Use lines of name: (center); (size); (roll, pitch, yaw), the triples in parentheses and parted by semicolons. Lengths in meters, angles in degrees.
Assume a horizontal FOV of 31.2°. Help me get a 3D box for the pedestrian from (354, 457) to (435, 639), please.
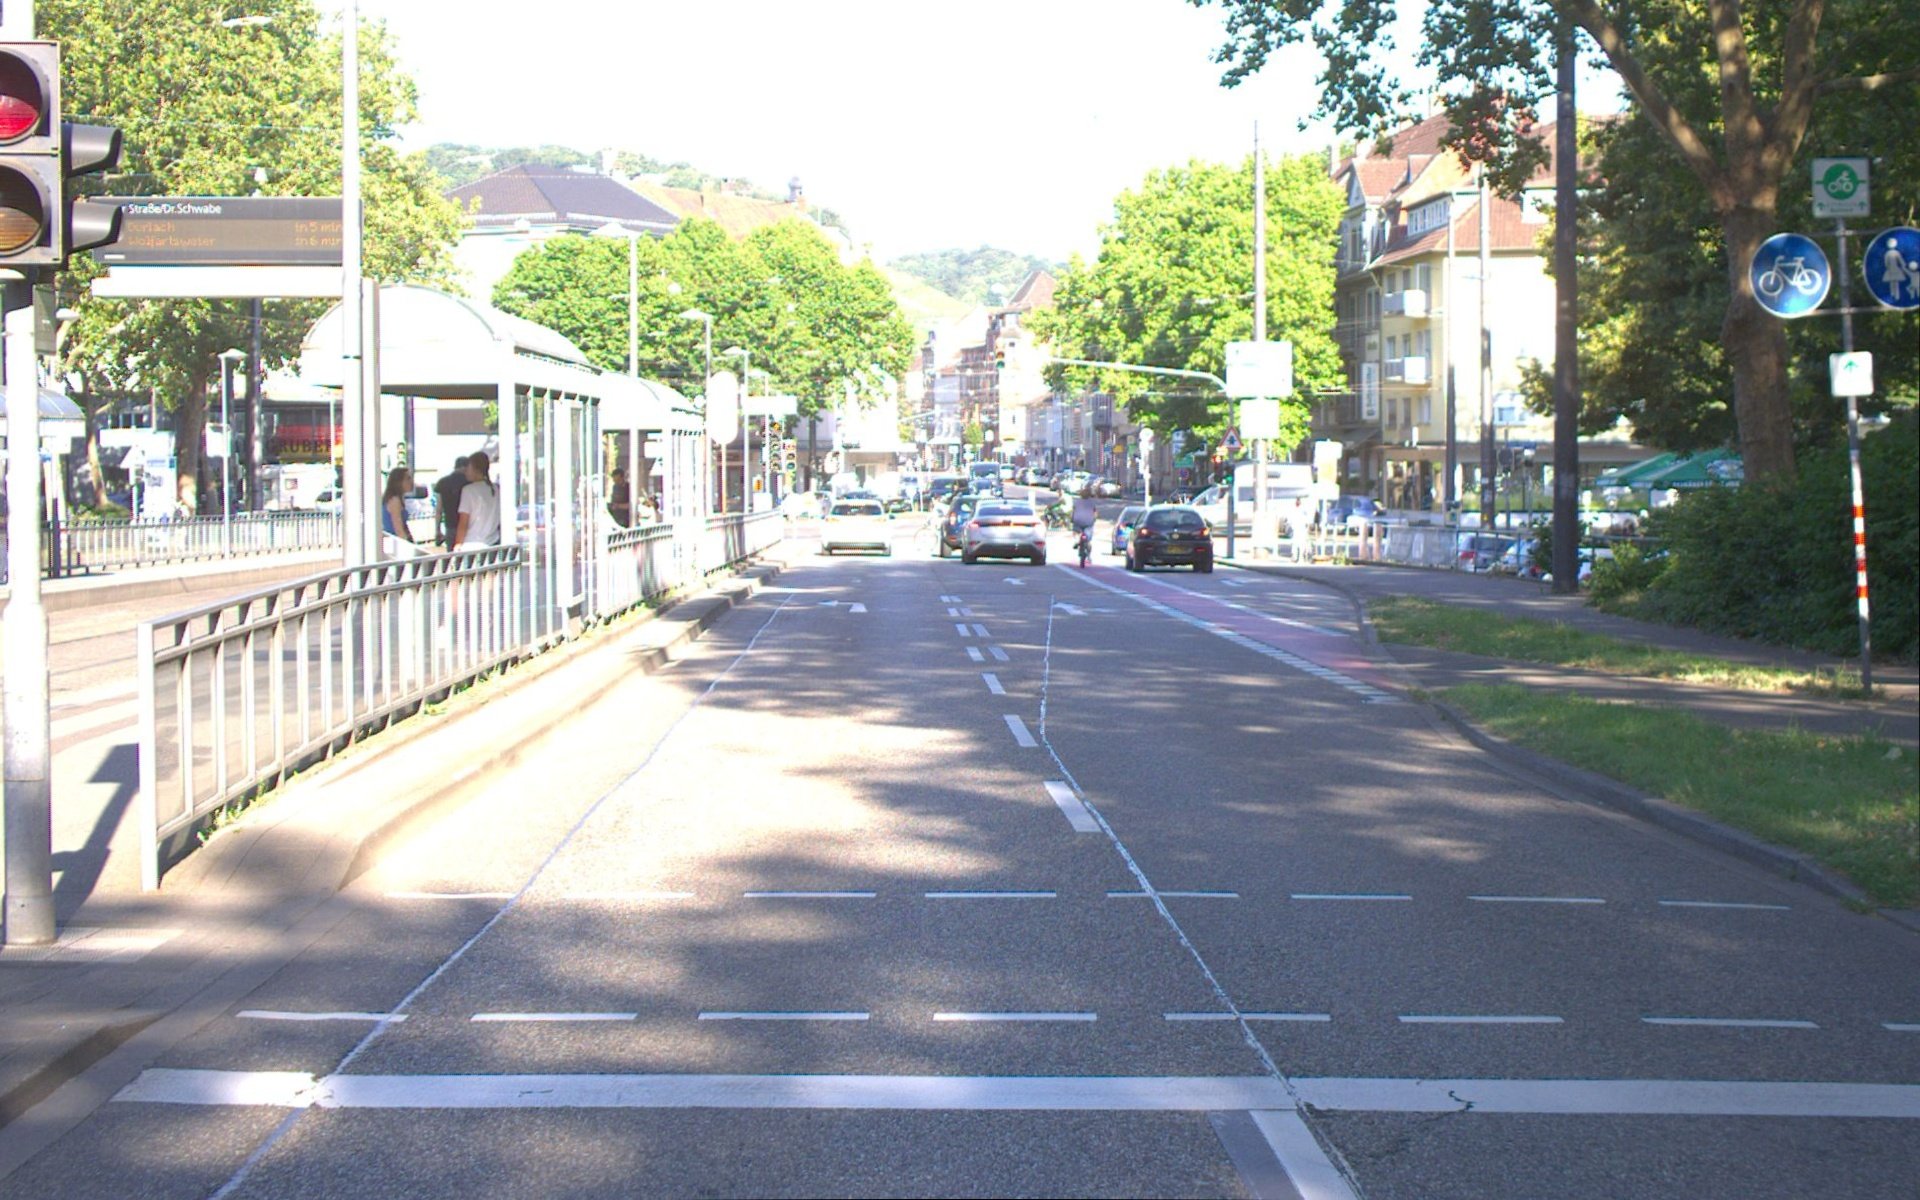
pedestrian: (-4.936, -0.461, 30.041); (0.588, 1.561, 0.650); (1, 2, -1)

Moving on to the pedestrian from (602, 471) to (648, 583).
pedestrian: (-5.045, -1.103, 51.751); (0.595, 1.672, 0.589); (1, 1, 4)

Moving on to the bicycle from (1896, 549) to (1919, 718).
bicycle: (6.725, 0.238, 22.304); (0.766, 1.104, 1.800); (0, 2, -2)

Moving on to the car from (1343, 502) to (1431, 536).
car: (15.179, -2.871, 122.218); (2.903, 1.158, 2.074); (0, 1, 1)

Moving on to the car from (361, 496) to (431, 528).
car: (-27.896, -4.355, 170.069); (1.796, 1.505, 4.007); (0, 2, 17)

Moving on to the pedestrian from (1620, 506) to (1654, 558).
pedestrian: (17.835, -1.781, 90.550); (0.649, 1.333, 0.631); (3, 2, 29)

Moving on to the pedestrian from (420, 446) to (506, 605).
pedestrian: (-5.433, -0.820, 37.558); (0.651, 1.716, 0.710); (0, 2, -37)

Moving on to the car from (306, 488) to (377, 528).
car: (-30.685, -4.576, 170.738); (1.796, 1.949, 3.997); (0, 2, 17)

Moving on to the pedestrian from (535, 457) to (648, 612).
pedestrian: (-3.957, -0.708, 36.950); (0.801, 1.628, 0.865); (3, 3, 36)

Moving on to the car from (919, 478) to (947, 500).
car: (-1.854, -7.598, 235.537); (1.794, 1.505, 4.001); (0, 2, -3)

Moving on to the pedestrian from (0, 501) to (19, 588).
pedestrian: (-14.942, -0.846, 52.881); (0.669, 1.320, 0.757); (-3, 2, -3)

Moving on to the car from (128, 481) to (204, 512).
car: (-40.461, -5.275, 175.213); (1.796, 1.505, 3.996); (0, 2, 22)

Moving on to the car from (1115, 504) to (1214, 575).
car: (4.475, -1.350, 75.598); (1.800, 1.434, 4.046); (1, 2, -2)

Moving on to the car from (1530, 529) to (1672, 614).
car: (12.413, -0.574, 66.808); (1.794, 1.573, 4.443); (1, 1, -2)

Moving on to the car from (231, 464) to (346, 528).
car: (-33.516, -5.215, 171.828); (2.498, 3.154, 6.528); (0, 2, 22)

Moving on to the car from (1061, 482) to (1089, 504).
car: (8.255, -7.699, 247.127); (1.794, 1.505, 4.001); (0, 2, -2)

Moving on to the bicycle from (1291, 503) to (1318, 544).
bicycle: (9.137, -2.020, 91.227); (0.498, 1.071, 1.800); (1, 1, -1)

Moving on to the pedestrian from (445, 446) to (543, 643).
pedestrian: (-4.094, -0.493, 30.229); (0.742, 1.688, 0.791); (1, 2, -1)

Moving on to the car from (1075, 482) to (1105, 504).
car: (9.094, -7.476, 240.981); (1.794, 1.505, 4.001); (0, 2, -2)

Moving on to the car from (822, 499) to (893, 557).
car: (-2.688, -1.900, 89.647); (1.808, 1.447, 4.001); (0, 2, -2)

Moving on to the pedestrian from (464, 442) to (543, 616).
pedestrian: (-4.900, -0.765, 36.928); (0.651, 1.835, 0.710); (1, 2, 9)

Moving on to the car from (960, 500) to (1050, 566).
car: (1.034, -1.608, 80.759); (1.929, 1.467, 4.855); (0, 2, -1)

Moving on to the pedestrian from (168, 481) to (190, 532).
pedestrian: (-23.837, -2.868, 104.925); (0.535, 1.546, 0.677); (0, 2, -2)

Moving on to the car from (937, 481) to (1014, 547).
car: (0.369, -2.214, 87.960); (1.800, 1.632, 4.046); (0, 2, -2)

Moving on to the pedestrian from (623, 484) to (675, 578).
pedestrian: (-4.373, -0.975, 48.406); (0.678, 1.304, 0.593); (0, 2, 0)

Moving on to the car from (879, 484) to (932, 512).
car: (-3.016, -5.632, 190.604); (1.796, 1.505, 3.997); (0, 1, 18)

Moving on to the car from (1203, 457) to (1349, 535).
car: (11.225, -3.688, 122.267); (5.014, 2.733, 2.074); (0, 1, 1)

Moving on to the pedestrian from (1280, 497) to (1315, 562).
pedestrian: (8.225, -1.725, 83.780); (0.648, 1.557, 0.631); (3, 2, 18)

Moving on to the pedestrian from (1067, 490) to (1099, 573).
pedestrian: (2.755, -1.540, 77.180); (0.657, 1.864, 0.678); (0, 2, -2)

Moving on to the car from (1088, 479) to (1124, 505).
car: (9.964, -7.365, 234.465); (2.104, 1.770, 4.342); (0, 2, -2)

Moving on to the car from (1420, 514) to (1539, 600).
car: (11.892, -1.007, 78.899); (1.794, 1.891, 4.360); (1, 1, -4)

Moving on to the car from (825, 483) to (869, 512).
car: (-5.995, -5.434, 182.501); (1.794, 1.505, 3.999); (0, 1, 6)
